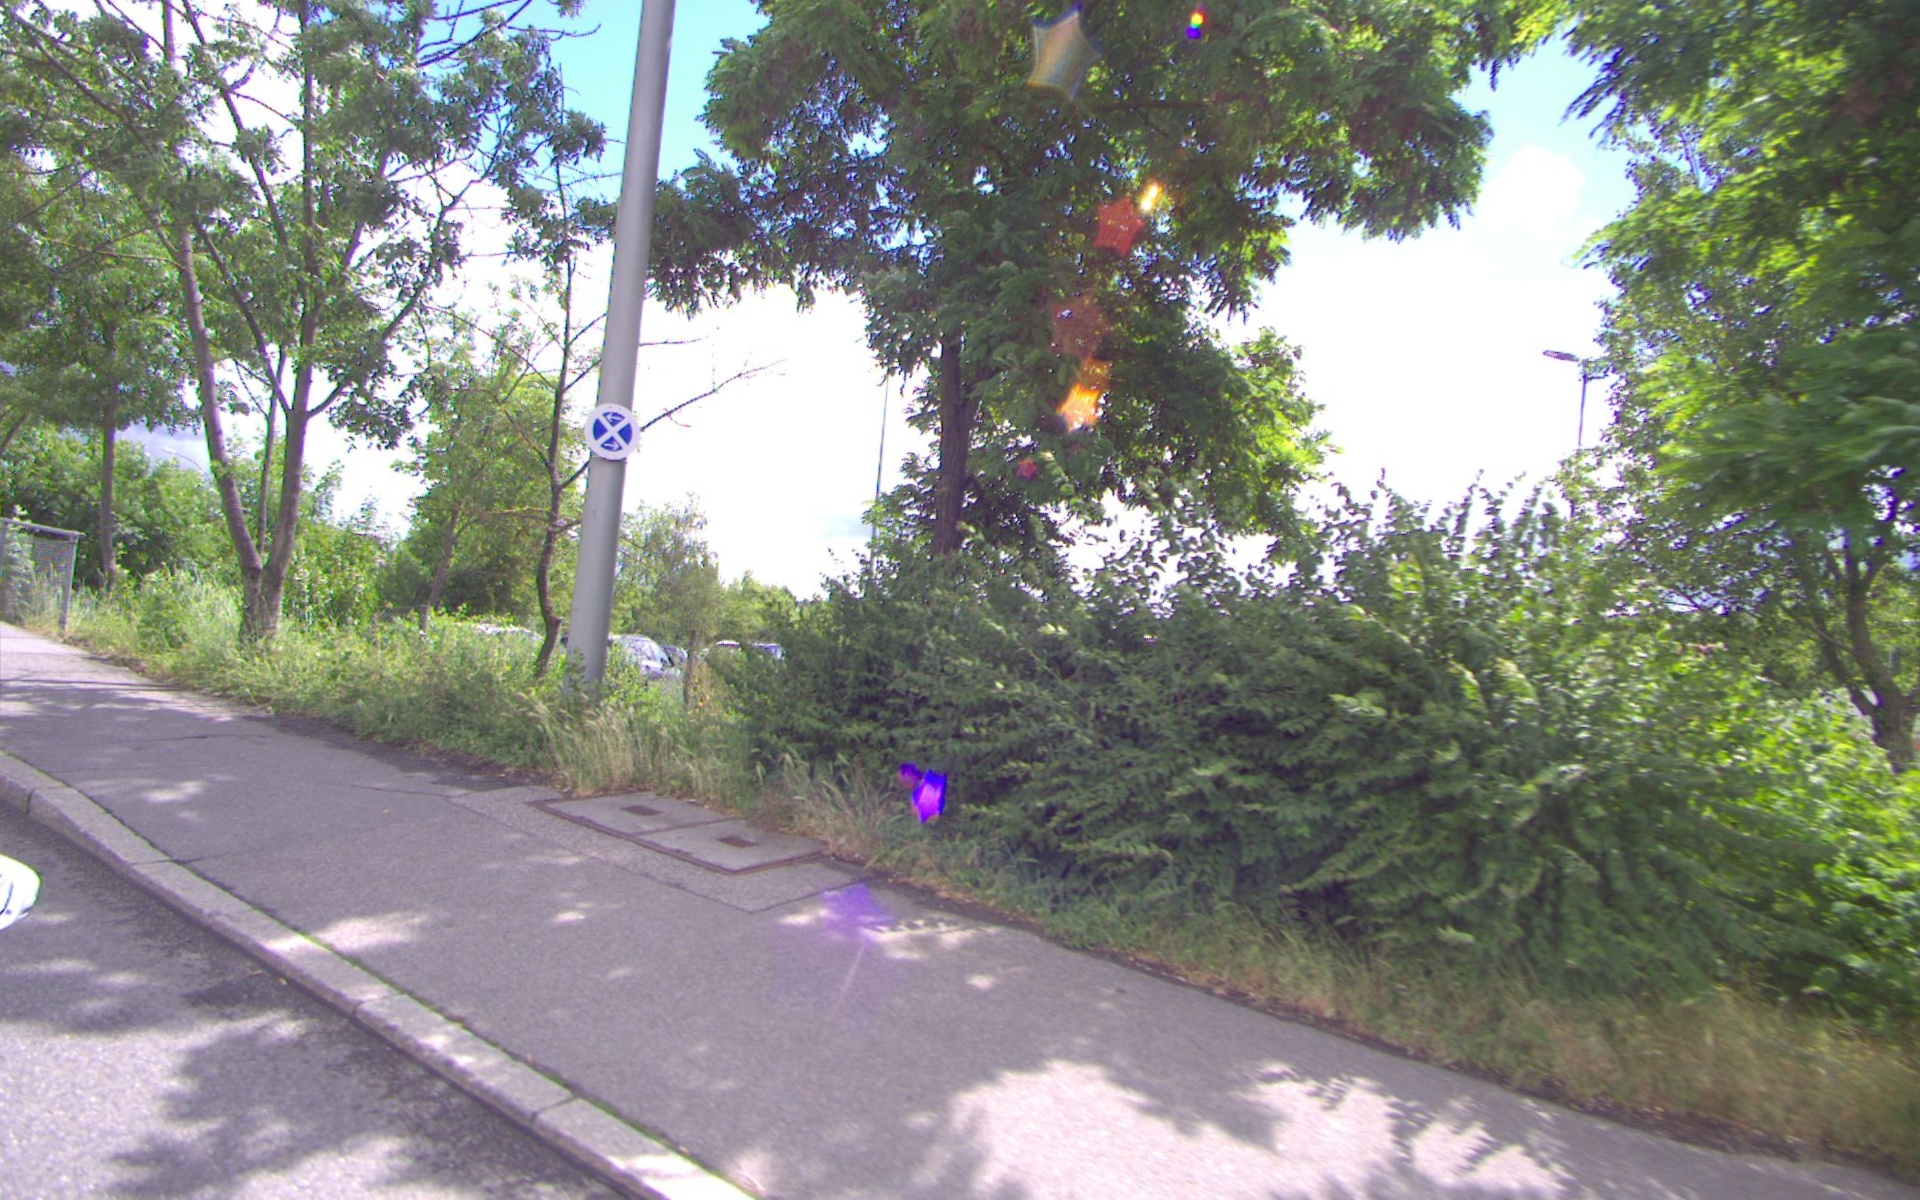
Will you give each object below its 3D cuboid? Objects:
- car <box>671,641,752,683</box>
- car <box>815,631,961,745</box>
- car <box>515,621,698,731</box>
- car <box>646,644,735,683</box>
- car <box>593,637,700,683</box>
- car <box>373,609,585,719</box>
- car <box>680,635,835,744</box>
[{"bbox_3d":[-14.369,3.614,58.289,3.924,1.923,2.005,6,-4,5],"label":"car"},{"bbox_3d":[-1.197,1.583,18.838,1.836,1.688,4.356,6,-2,6],"label":"car"},{"bbox_3d":[-6.645,1.407,19.474,1.837,1.688,4.354,6,-2,0],"label":"car"},{"bbox_3d":[-14.146,3.364,52.917,3.924,1.523,2.005,6,-4,5],"label":"car"},{"bbox_3d":[-13.854,2.659,44.618,3.924,1.523,2.005,6,-4,5],"label":"car"},{"bbox_3d":[-9.036,1.202,19.401,1.837,1.688,4.354,6,-2,0],"label":"car"},{"bbox_3d":[-3.778,1.654,19.558,1.836,1.688,4.355,6,-2,2],"label":"car"}]
